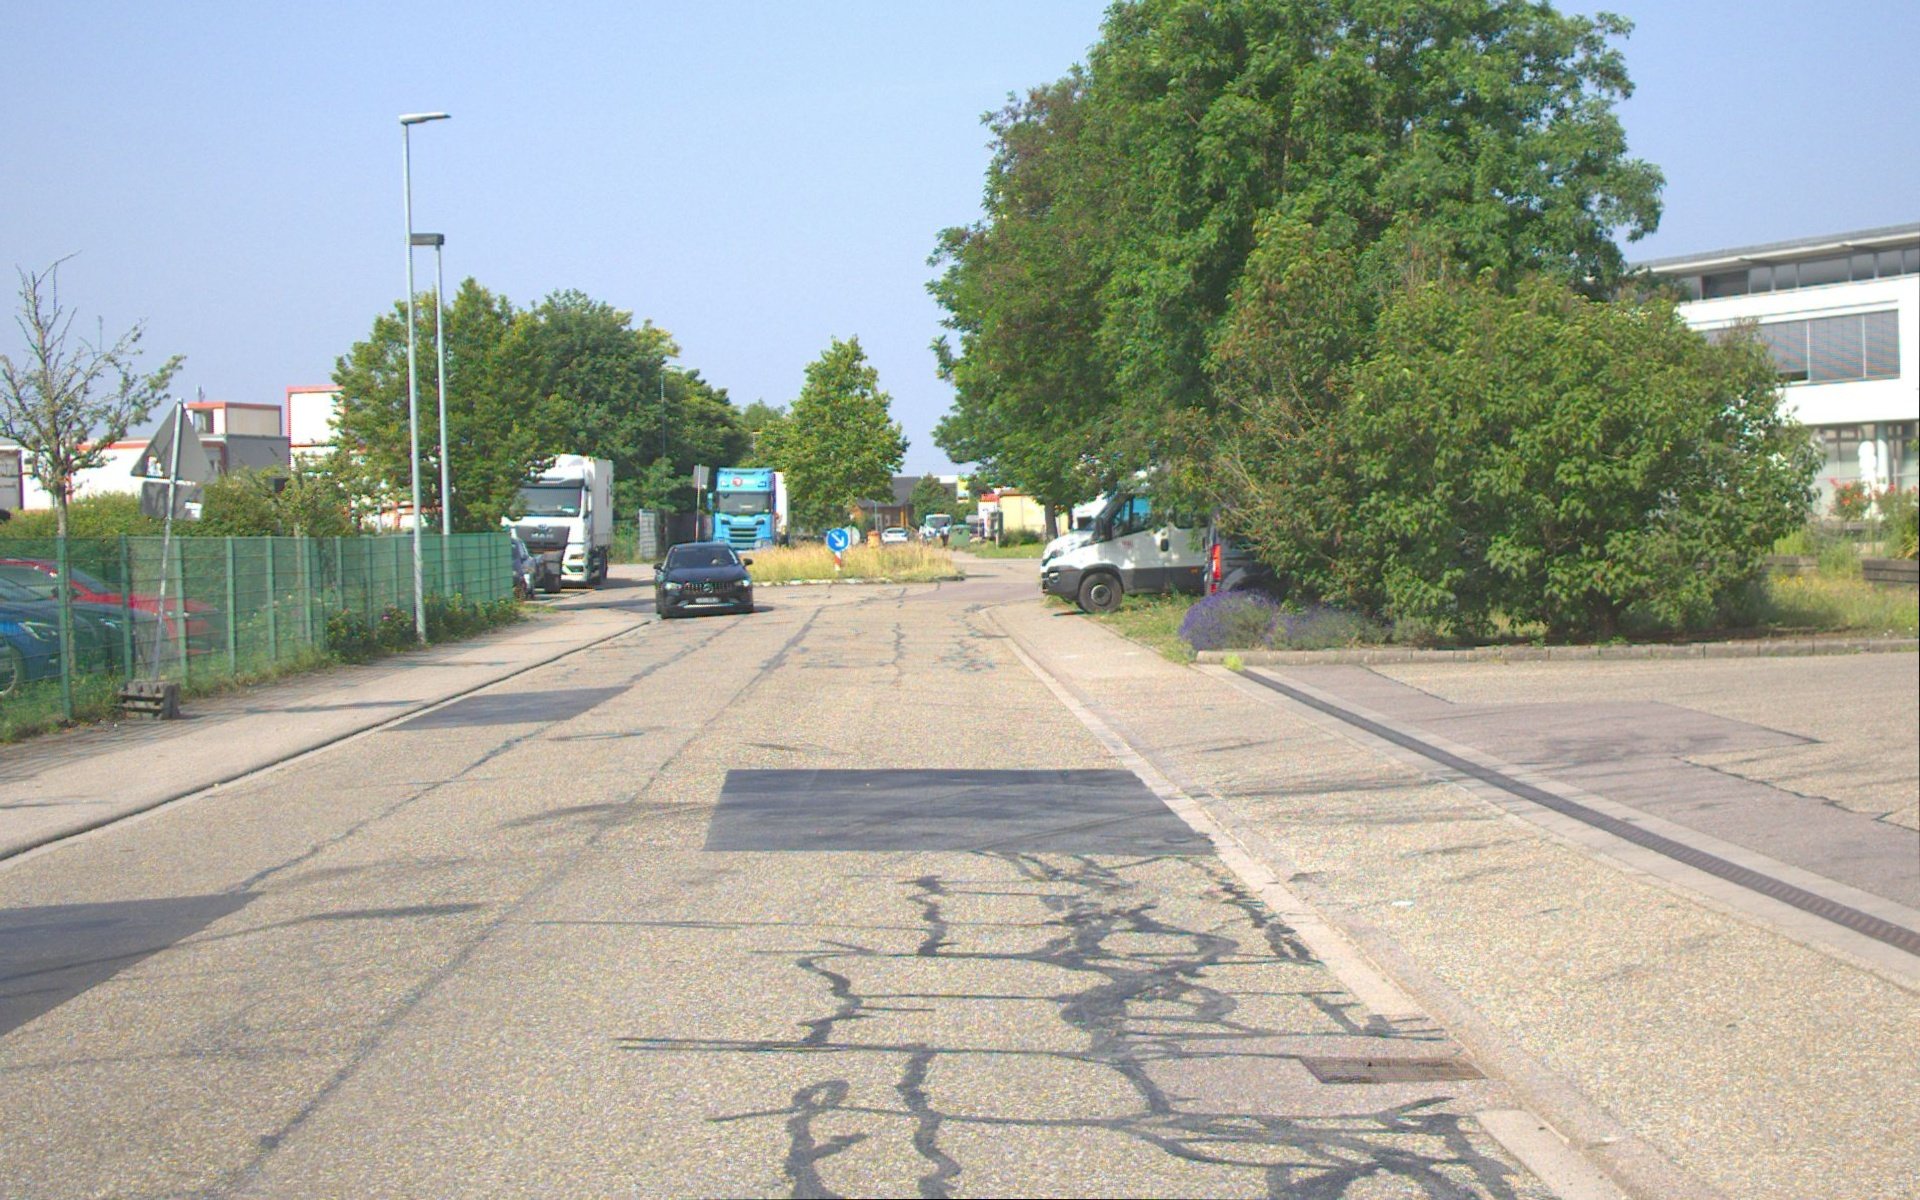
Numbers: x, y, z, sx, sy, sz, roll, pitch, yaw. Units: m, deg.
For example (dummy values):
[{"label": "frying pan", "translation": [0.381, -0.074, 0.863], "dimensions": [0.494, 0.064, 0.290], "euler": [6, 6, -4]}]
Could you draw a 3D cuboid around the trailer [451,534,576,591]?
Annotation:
[{"label": "trailer", "translation": [-12.092, -1.047, 93.462], "dimensions": [2.681, 1.448, 5.077], "euler": [-1, 2, 0]}]

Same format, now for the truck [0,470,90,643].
[{"label": "truck", "translation": [-23.398, -1.030, 82.502], "dimensions": [2.514, 4.057, 5.540], "euler": [1, 0, 14]}]

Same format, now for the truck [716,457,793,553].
[{"label": "truck", "translation": [-8.596, -3.916, 144.526], "dimensions": [2.825, 3.812, 9.673], "euler": [0, 0, -1]}]

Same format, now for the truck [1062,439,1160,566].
[{"label": "truck", "translation": [4.977, -3.220, 113.833], "dimensions": [2.746, 3.968, 4.000], "euler": [-4, 1, -1]}]

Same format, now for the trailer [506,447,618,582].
[{"label": "trailer", "translation": [-12.028, -2.521, 104.396], "dimensions": [2.699, 3.908, 7.576], "euler": [0, 0, -2]}]

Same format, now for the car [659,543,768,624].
[{"label": "car", "translation": [-4.921, -0.359, 69.136], "dimensions": [1.993, 1.444, 4.420], "euler": [-4, 1, -2]}]

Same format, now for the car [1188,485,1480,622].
[{"label": "car", "translation": [5.396, -0.681, 49.948], "dimensions": [3.987, 1.831, 2.000], "euler": [-2, 1, 1]}]

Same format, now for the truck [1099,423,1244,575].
[{"label": "truck", "translation": [5.424, -2.537, 89.893], "dimensions": [2.888, 3.523, 9.755], "euler": [-5, 0, 0]}]

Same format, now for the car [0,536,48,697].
[{"label": "car", "translation": [-10.661, 0.243, 31.541], "dimensions": [4.040, 1.439, 1.874], "euler": [-3, 1, -1]}]

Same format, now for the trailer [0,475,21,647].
[{"label": "trailer", "translation": [-25.307, -0.917, 75.305], "dimensions": [2.483, 4.028, 13.879], "euler": [1, 0, 15]}]

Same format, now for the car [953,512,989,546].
[{"label": "car", "translation": [0.585, -3.825, 185.165], "dimensions": [1.792, 1.744, 4.000], "euler": [0, 0, -2]}]

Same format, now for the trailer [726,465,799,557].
[{"label": "trailer", "translation": [-8.804, -3.900, 154.168], "dimensions": [2.831, 3.829, 12.037], "euler": [0, 0, -1]}]

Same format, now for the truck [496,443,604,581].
[{"label": "truck", "translation": [-11.909, -2.505, 100.038], "dimensions": [2.708, 3.908, 4.297], "euler": [0, 0, -2]}]

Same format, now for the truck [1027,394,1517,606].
[{"label": "truck", "translation": [5.405, -1.729, 60.575], "dimensions": [8.208, 3.358, 2.741], "euler": [-2, 0, -2]}]

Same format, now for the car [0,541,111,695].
[{"label": "car", "translation": [-10.632, 0.250, 33.852], "dimensions": [4.040, 1.439, 1.874], "euler": [-3, 1, -1]}]

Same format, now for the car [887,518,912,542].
[{"label": "car", "translation": [-4.440, -5.096, 250.719], "dimensions": [1.718, 1.655, 3.824], "euler": [0, 0, -3]}]

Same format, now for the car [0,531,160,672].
[{"label": "car", "translation": [-11.005, 0.069, 37.581], "dimensions": [4.040, 1.439, 1.874], "euler": [-3, 1, -1]}]

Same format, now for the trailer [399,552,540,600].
[{"label": "trailer", "translation": [-11.420, -0.589, 80.576], "dimensions": [2.546, 0.922, 6.711], "euler": [2, 1, -2]}]
